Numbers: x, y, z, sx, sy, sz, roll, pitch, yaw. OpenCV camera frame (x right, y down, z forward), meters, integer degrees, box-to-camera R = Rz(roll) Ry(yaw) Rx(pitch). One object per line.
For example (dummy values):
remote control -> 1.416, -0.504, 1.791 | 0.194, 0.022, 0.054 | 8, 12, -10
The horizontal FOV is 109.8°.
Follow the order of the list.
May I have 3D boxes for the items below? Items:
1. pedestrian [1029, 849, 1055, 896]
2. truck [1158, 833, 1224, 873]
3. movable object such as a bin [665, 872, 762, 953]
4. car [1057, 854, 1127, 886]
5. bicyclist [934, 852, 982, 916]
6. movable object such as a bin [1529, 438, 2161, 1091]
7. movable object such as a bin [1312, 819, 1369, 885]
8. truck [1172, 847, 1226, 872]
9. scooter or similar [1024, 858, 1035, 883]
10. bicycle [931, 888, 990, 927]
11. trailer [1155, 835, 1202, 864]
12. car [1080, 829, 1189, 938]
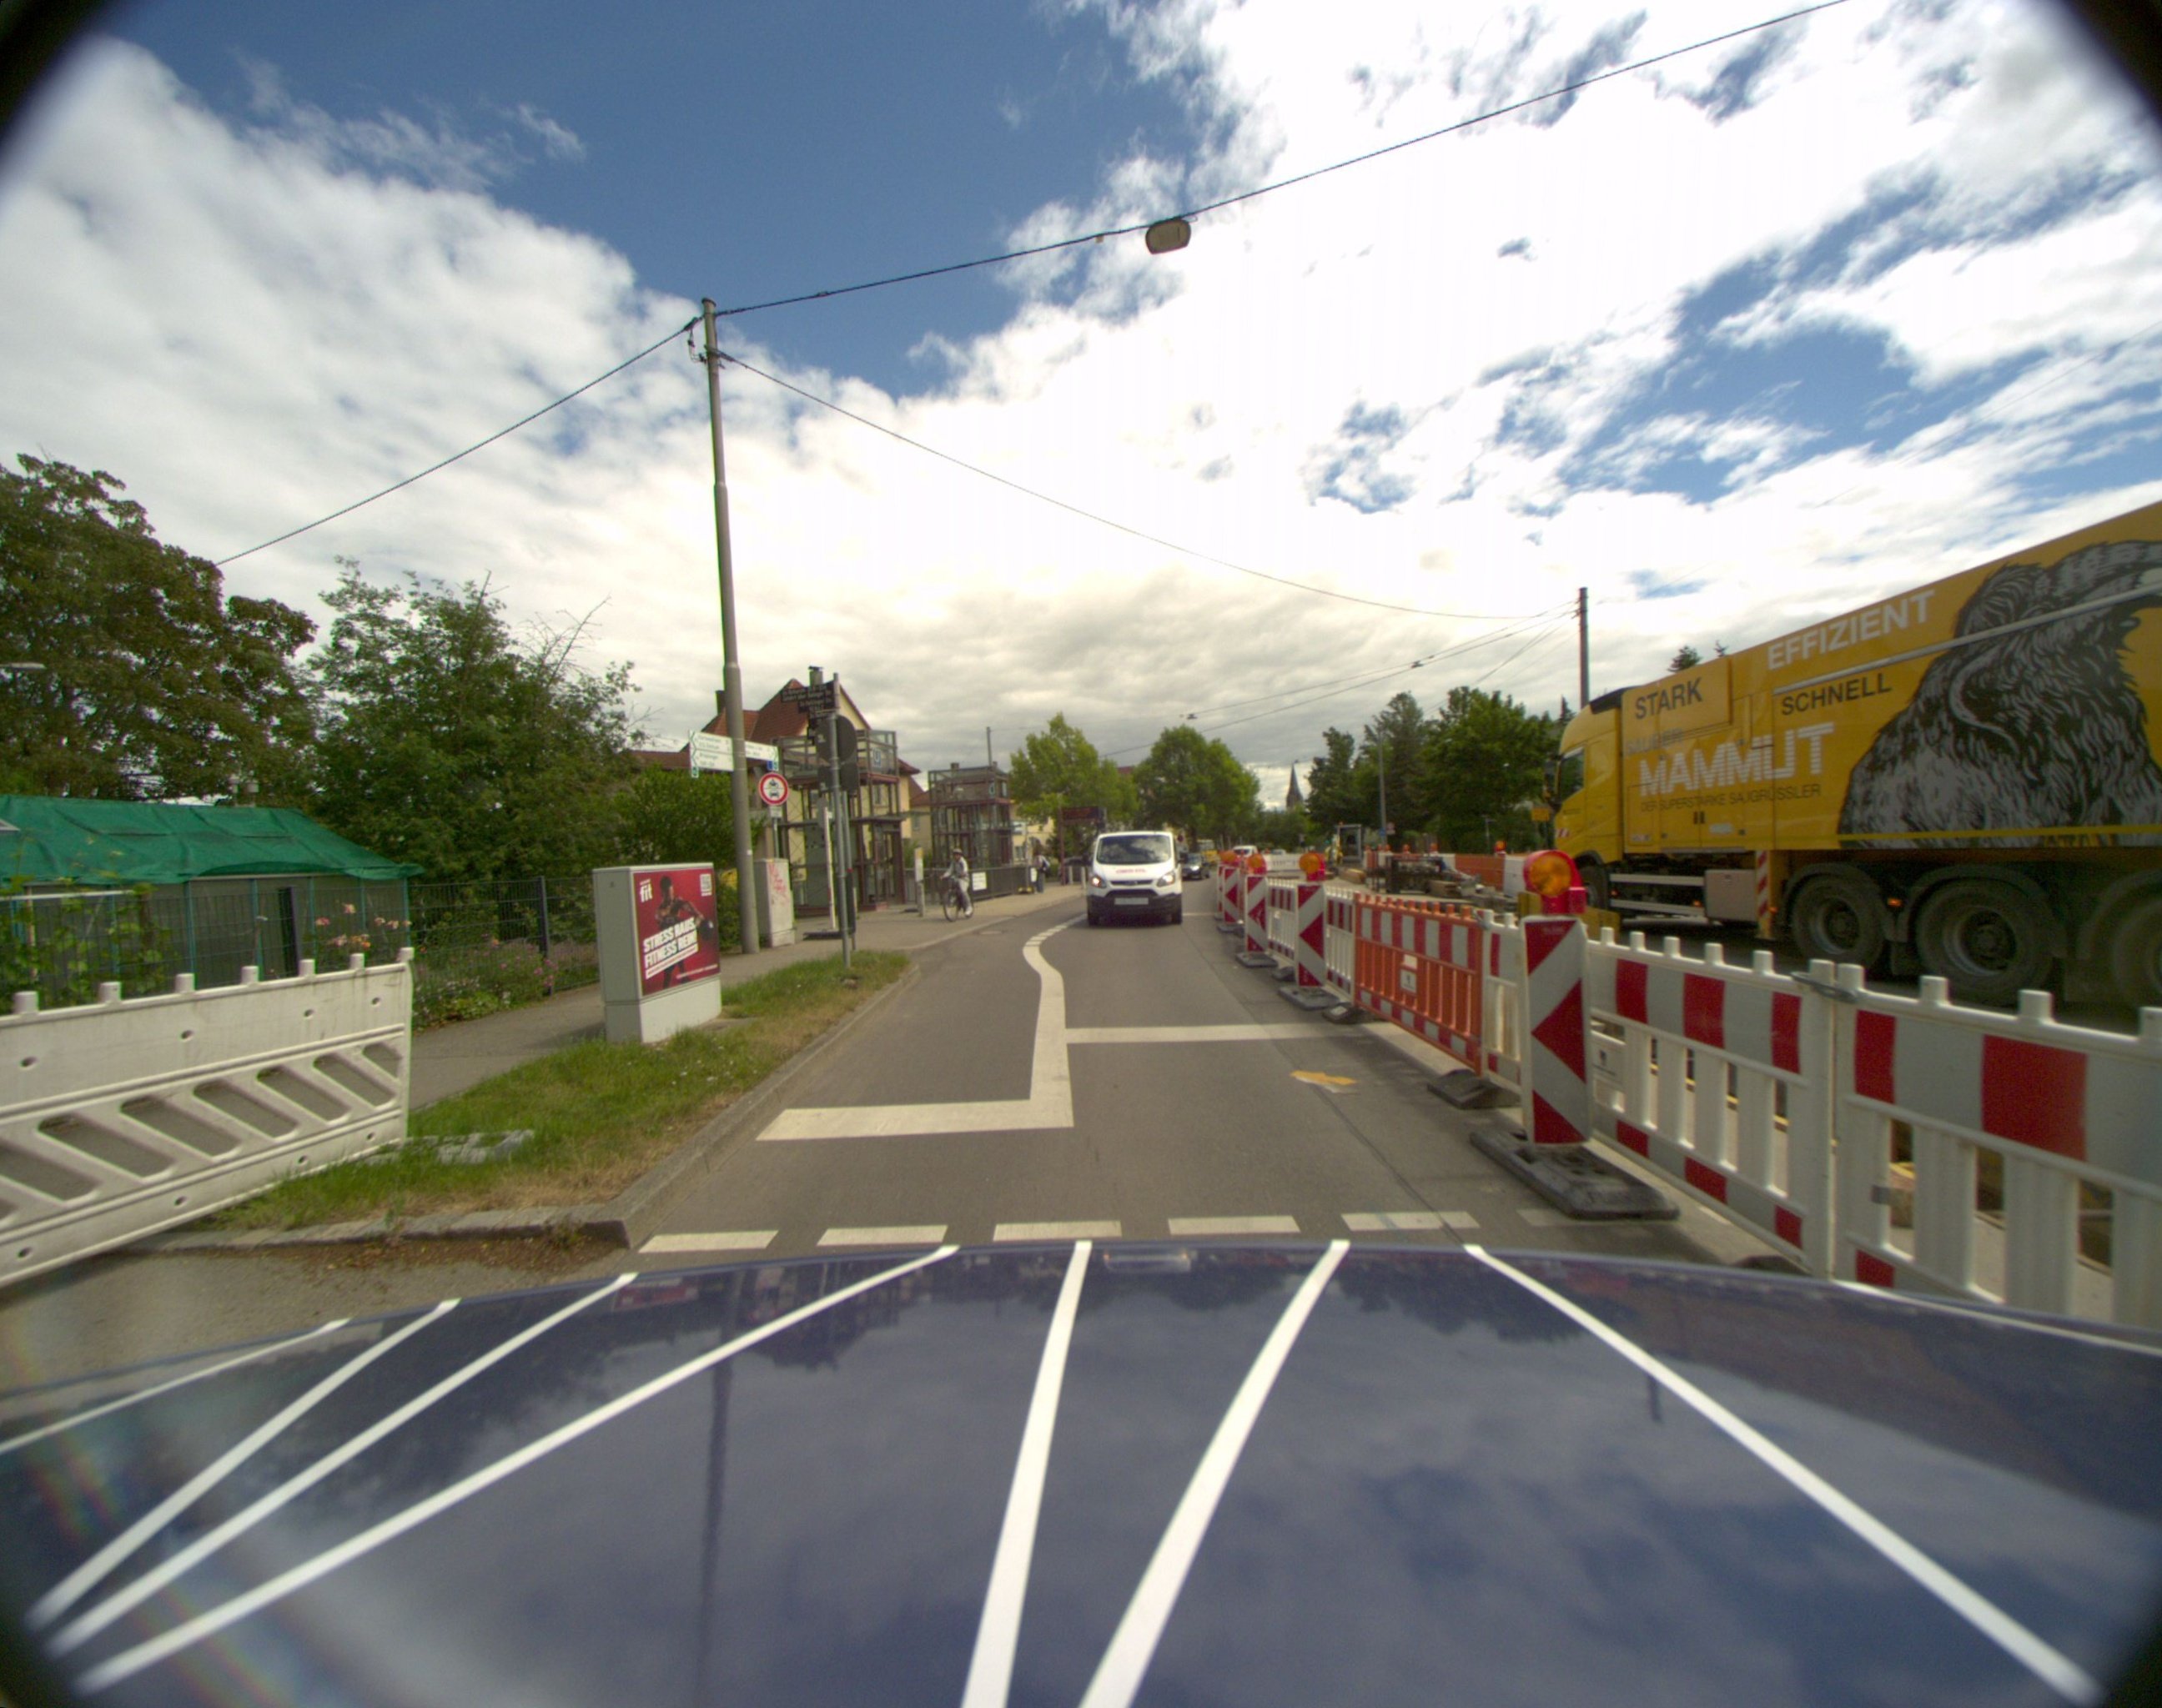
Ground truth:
pedestrian -> -1.374, 0.647, 26.943 | 0.599, 1.573, 0.401 | -8, 1, 12
truck -> 10.359, -0.051, 72.183 | 2.346, 3.178, 6.620 | -2, -3, -32
movable object such as a bin -> -7.130, 1.122, 14.769 | 1.269, 1.461, 1.006 | -3, 0, 18
car -> 0.602, 0.947, 44.072 | 1.873, 1.615, 3.990 | -3, -1, -39
bicyclist -> -2.839, 0.685, 17.625 | 0.657, 1.407, 1.180 | -3, 0, 12
movable object such as a bin -> 8.684, -0.619, 8.027 | 2.596, 4.197, 11.126 | -2, 0, 7
movable object such as a bin -> 11.568, -0.106, 33.554 | 1.995, 2.610, 6.532 | -1, 0, 22
truck -> 11.651, 0.581, 75.478 | 2.003, 2.001, 5.946 | -3, -2, -30
scooter or similar -> -2.302, 0.755, 33.999 | 0.216, 1.105, 0.947 | -2, -3, 13
bicycle -> -2.769, 1.214, 17.686 | 0.636, 0.749, 2.064 | -3, 0, 12
trailer -> 8.372, -0.394, 64.692 | 2.596, 2.232, 5.681 | -5, -1, 20
car -> 1.211, 0.539, 17.536 | 1.998, 2.002, 5.514 | -4, 1, 3
